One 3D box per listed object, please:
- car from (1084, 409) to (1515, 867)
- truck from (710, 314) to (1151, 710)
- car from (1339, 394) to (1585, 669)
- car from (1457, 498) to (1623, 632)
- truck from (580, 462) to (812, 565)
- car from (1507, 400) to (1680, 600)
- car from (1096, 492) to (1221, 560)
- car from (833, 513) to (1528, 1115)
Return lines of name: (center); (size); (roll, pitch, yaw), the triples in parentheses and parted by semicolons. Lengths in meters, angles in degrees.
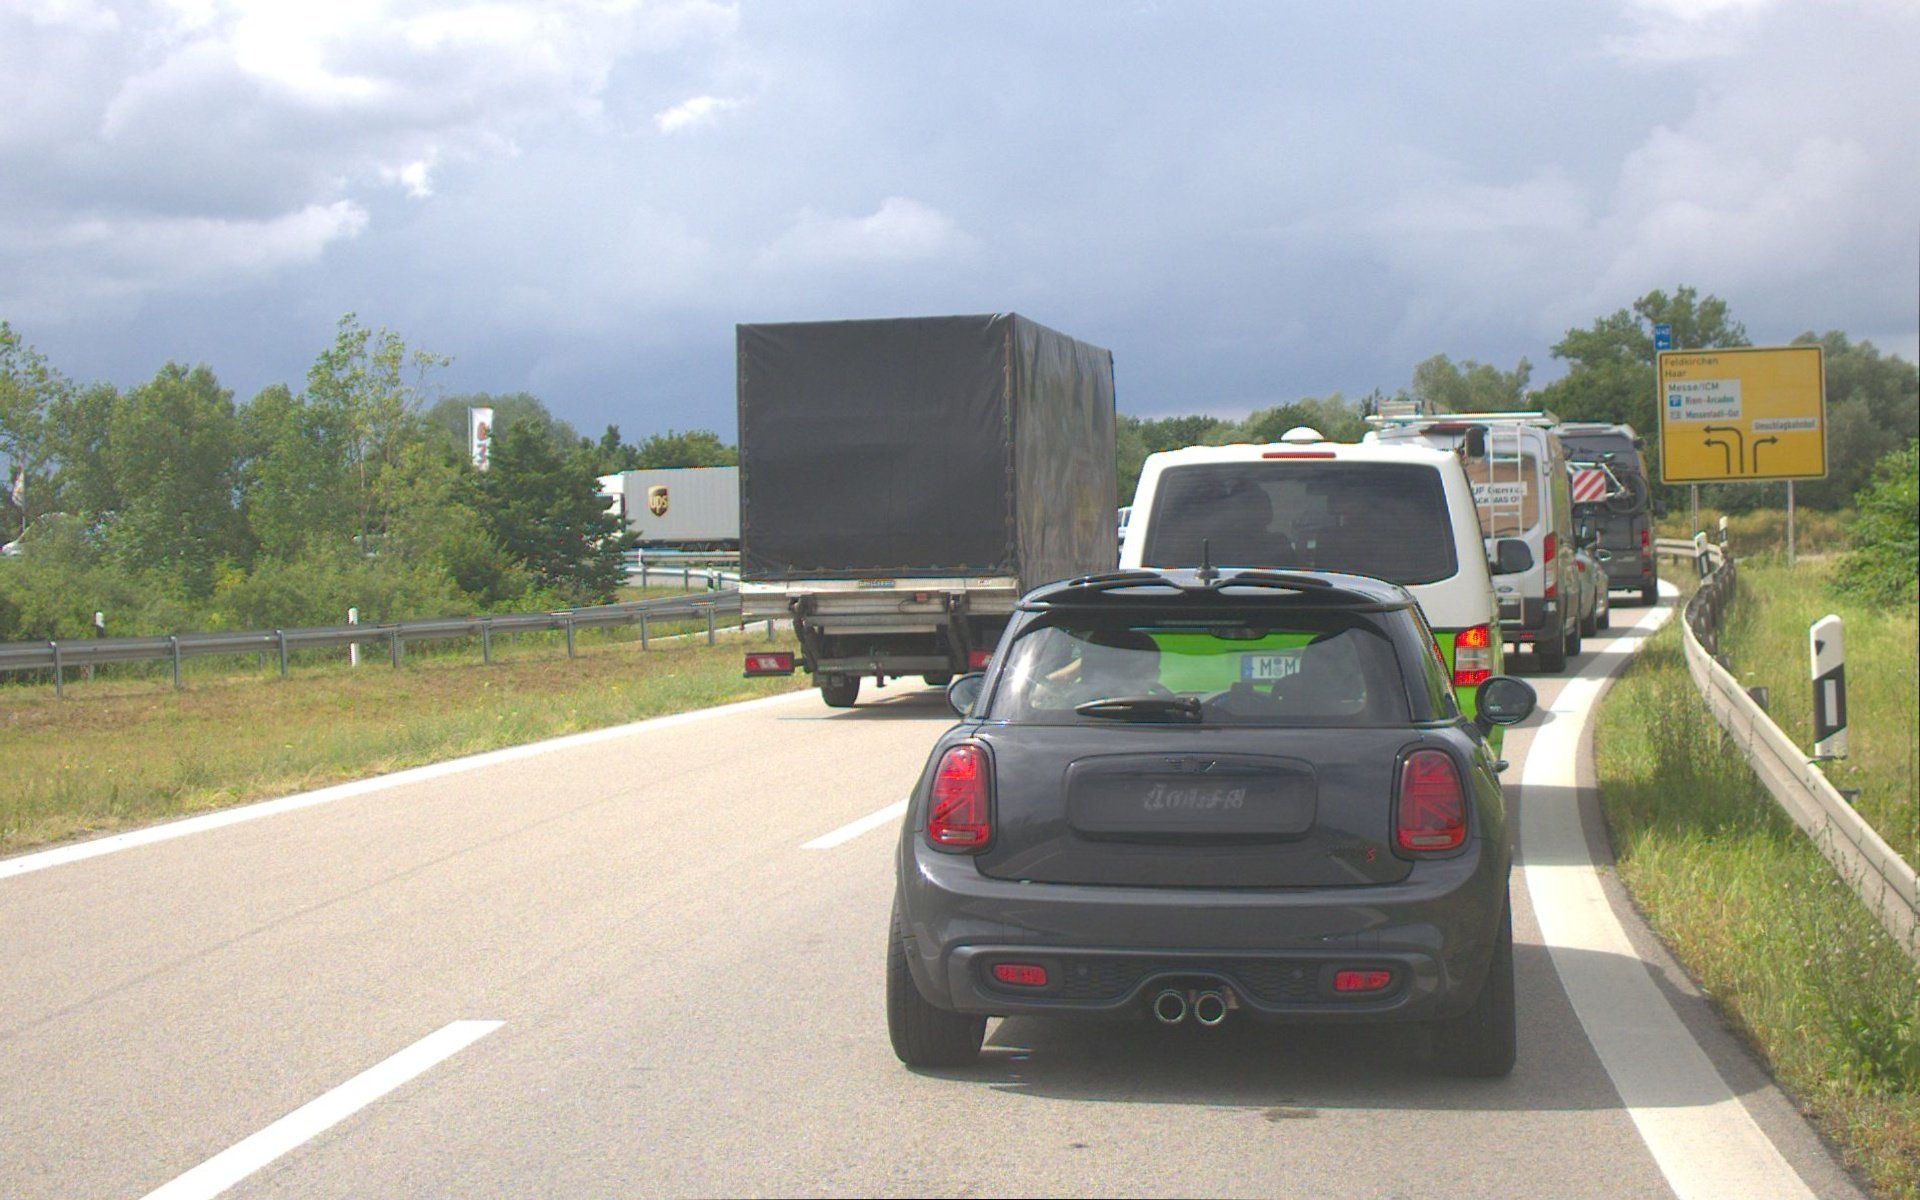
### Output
car: (1.851, 0.142, 17.537); (1.912, 2.038, 4.179); (0, 1, 9)
truck: (-0.051, -0.733, 31.308); (2.561, 3.157, 7.464); (1, 0, 11)
car: (5.284, -0.670, 35.583); (2.213, 2.613, 5.531); (1, 0, 11)
car: (7.545, -0.444, 44.456); (1.994, 1.636, 3.927); (1, 0, 11)
truck: (-10.705, -3.454, 138.357); (10.020, 3.962, 2.839); (1, 0, 39)
car: (10.403, -1.559, 56.074); (2.312, 3.058, 6.657); (1, 0, 14)
car: (6.775, -2.515, 118.078); (2.289, 2.252, 5.109); (1, 0, -22)
car: (0.809, 0.517, 10.799); (1.800, 1.541, 3.737); (0, 1, 8)
